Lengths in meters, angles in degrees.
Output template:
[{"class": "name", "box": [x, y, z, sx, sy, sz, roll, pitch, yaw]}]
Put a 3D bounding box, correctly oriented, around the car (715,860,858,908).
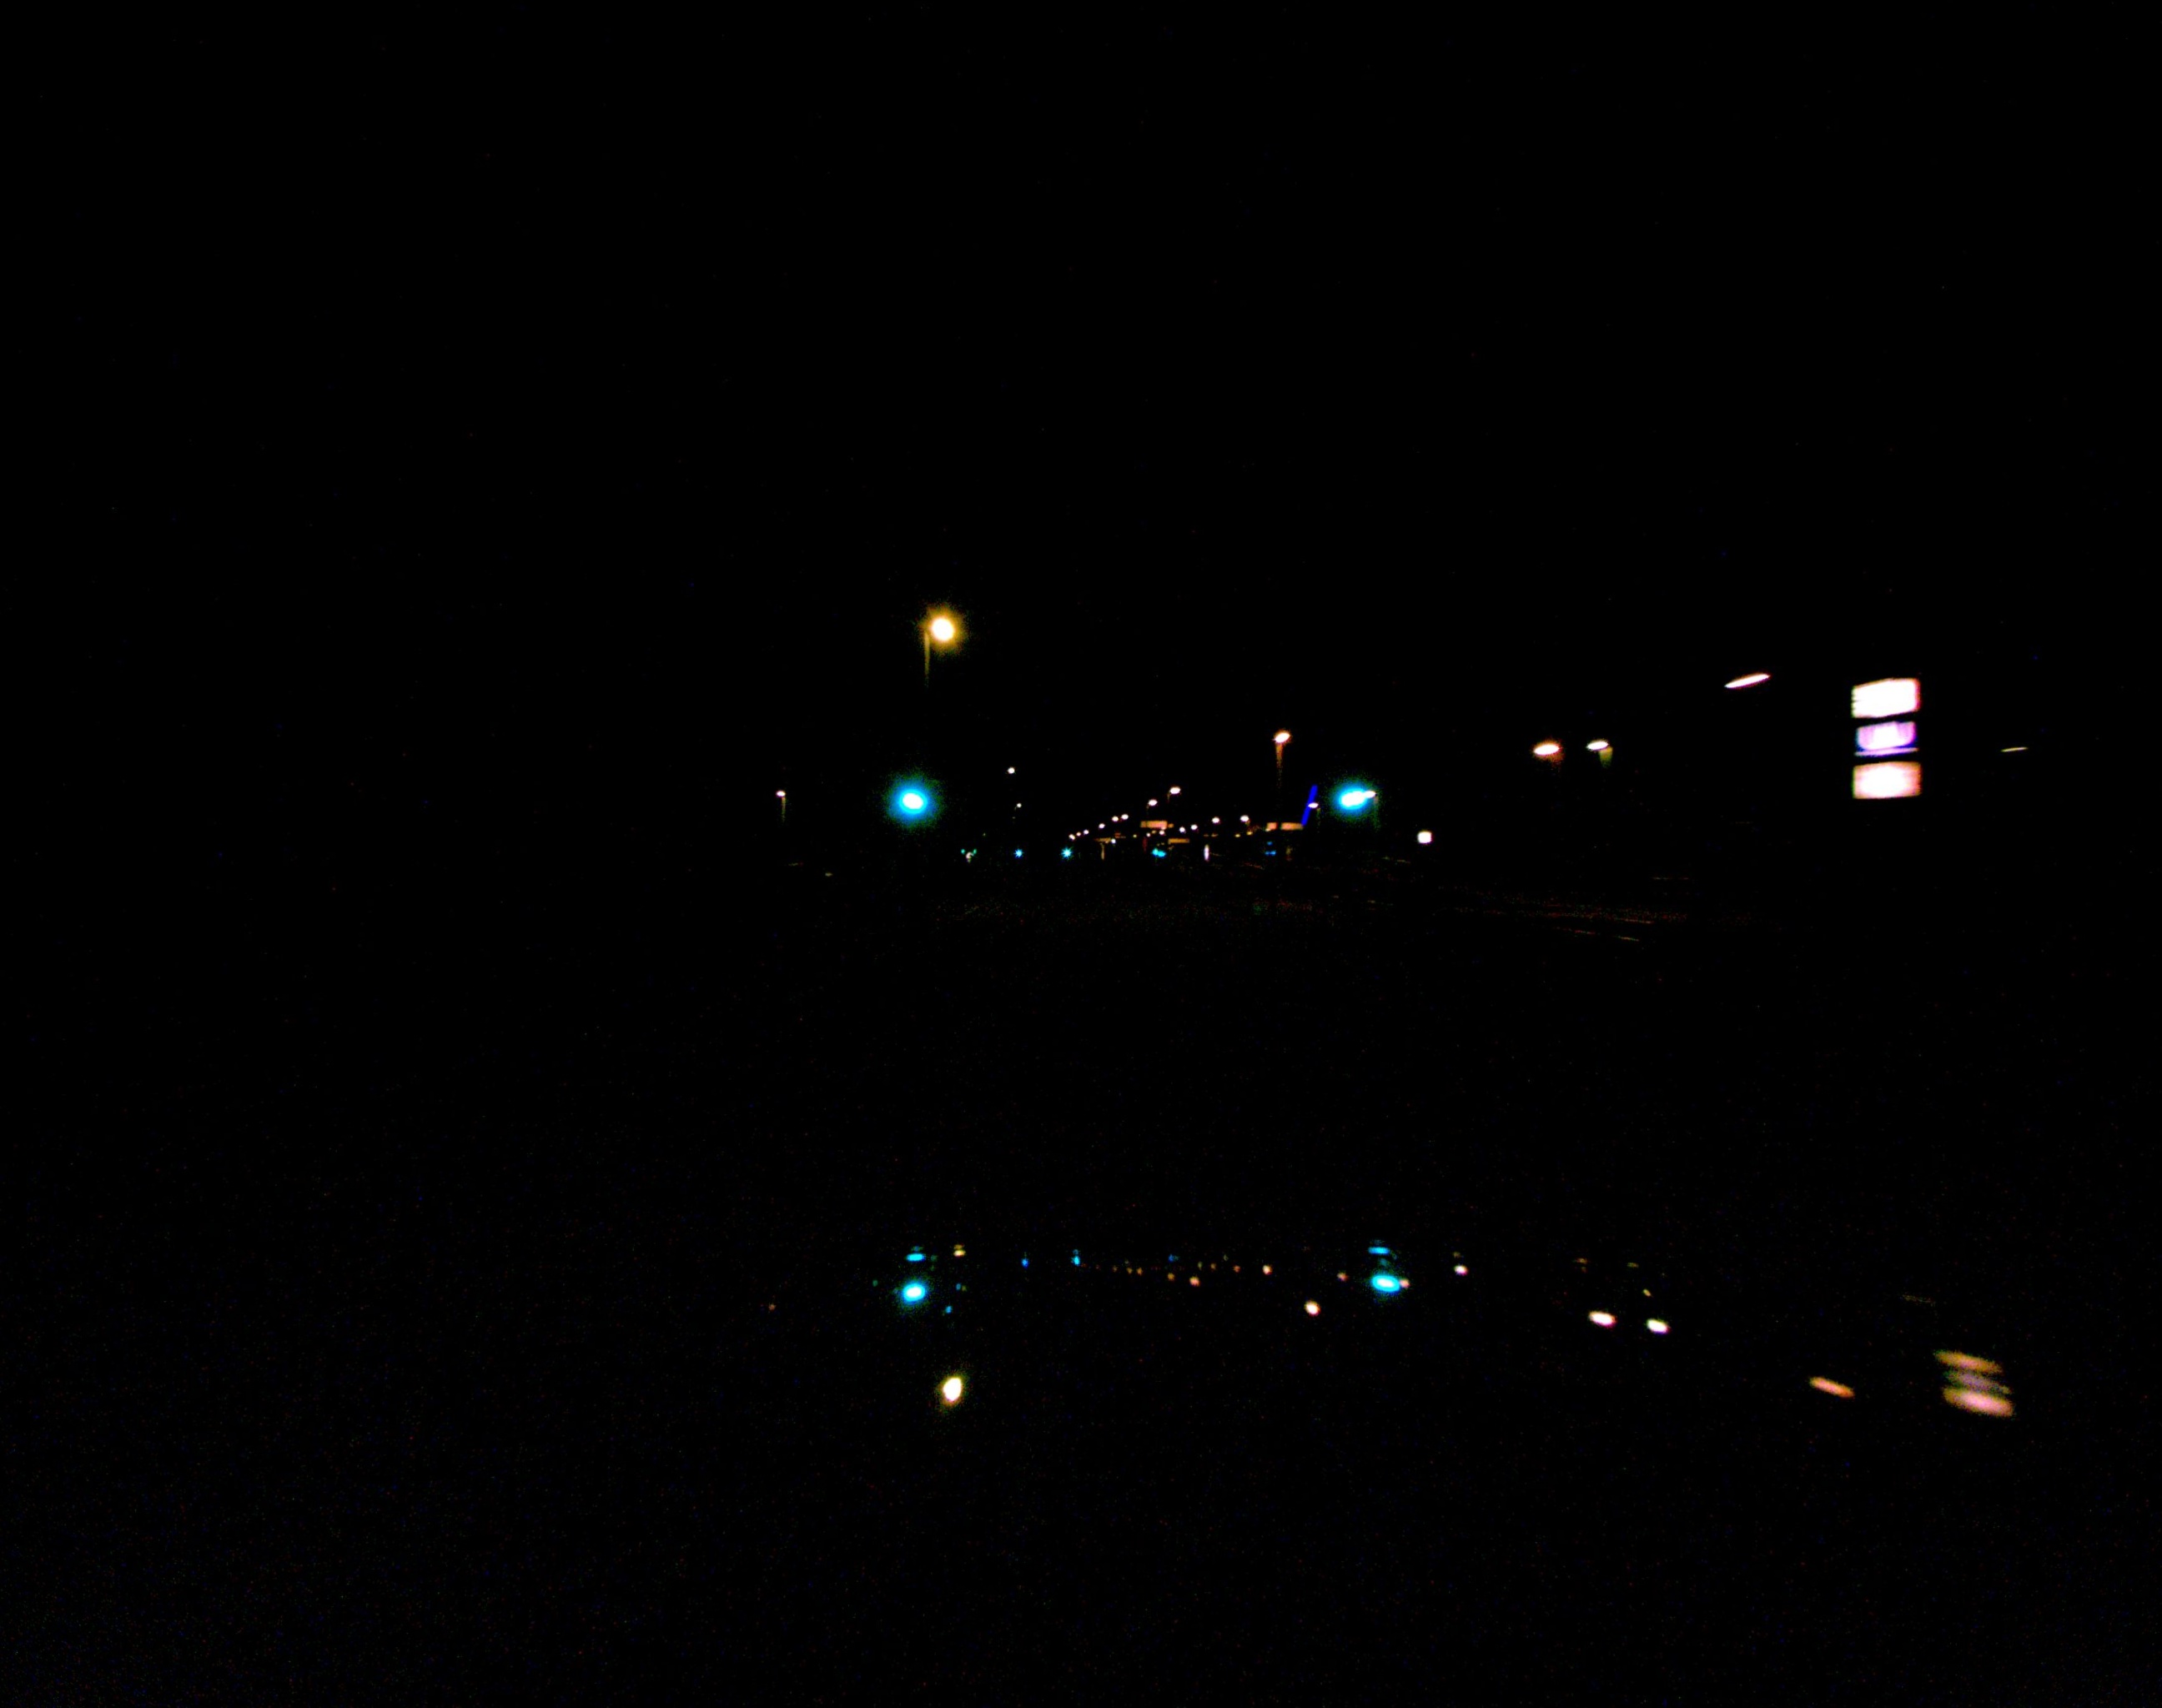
[{"class": "car", "box": [-9.234, 0.921, 24.038, 3.774, 1.346, 1.858, -1, 1, 0]}]
